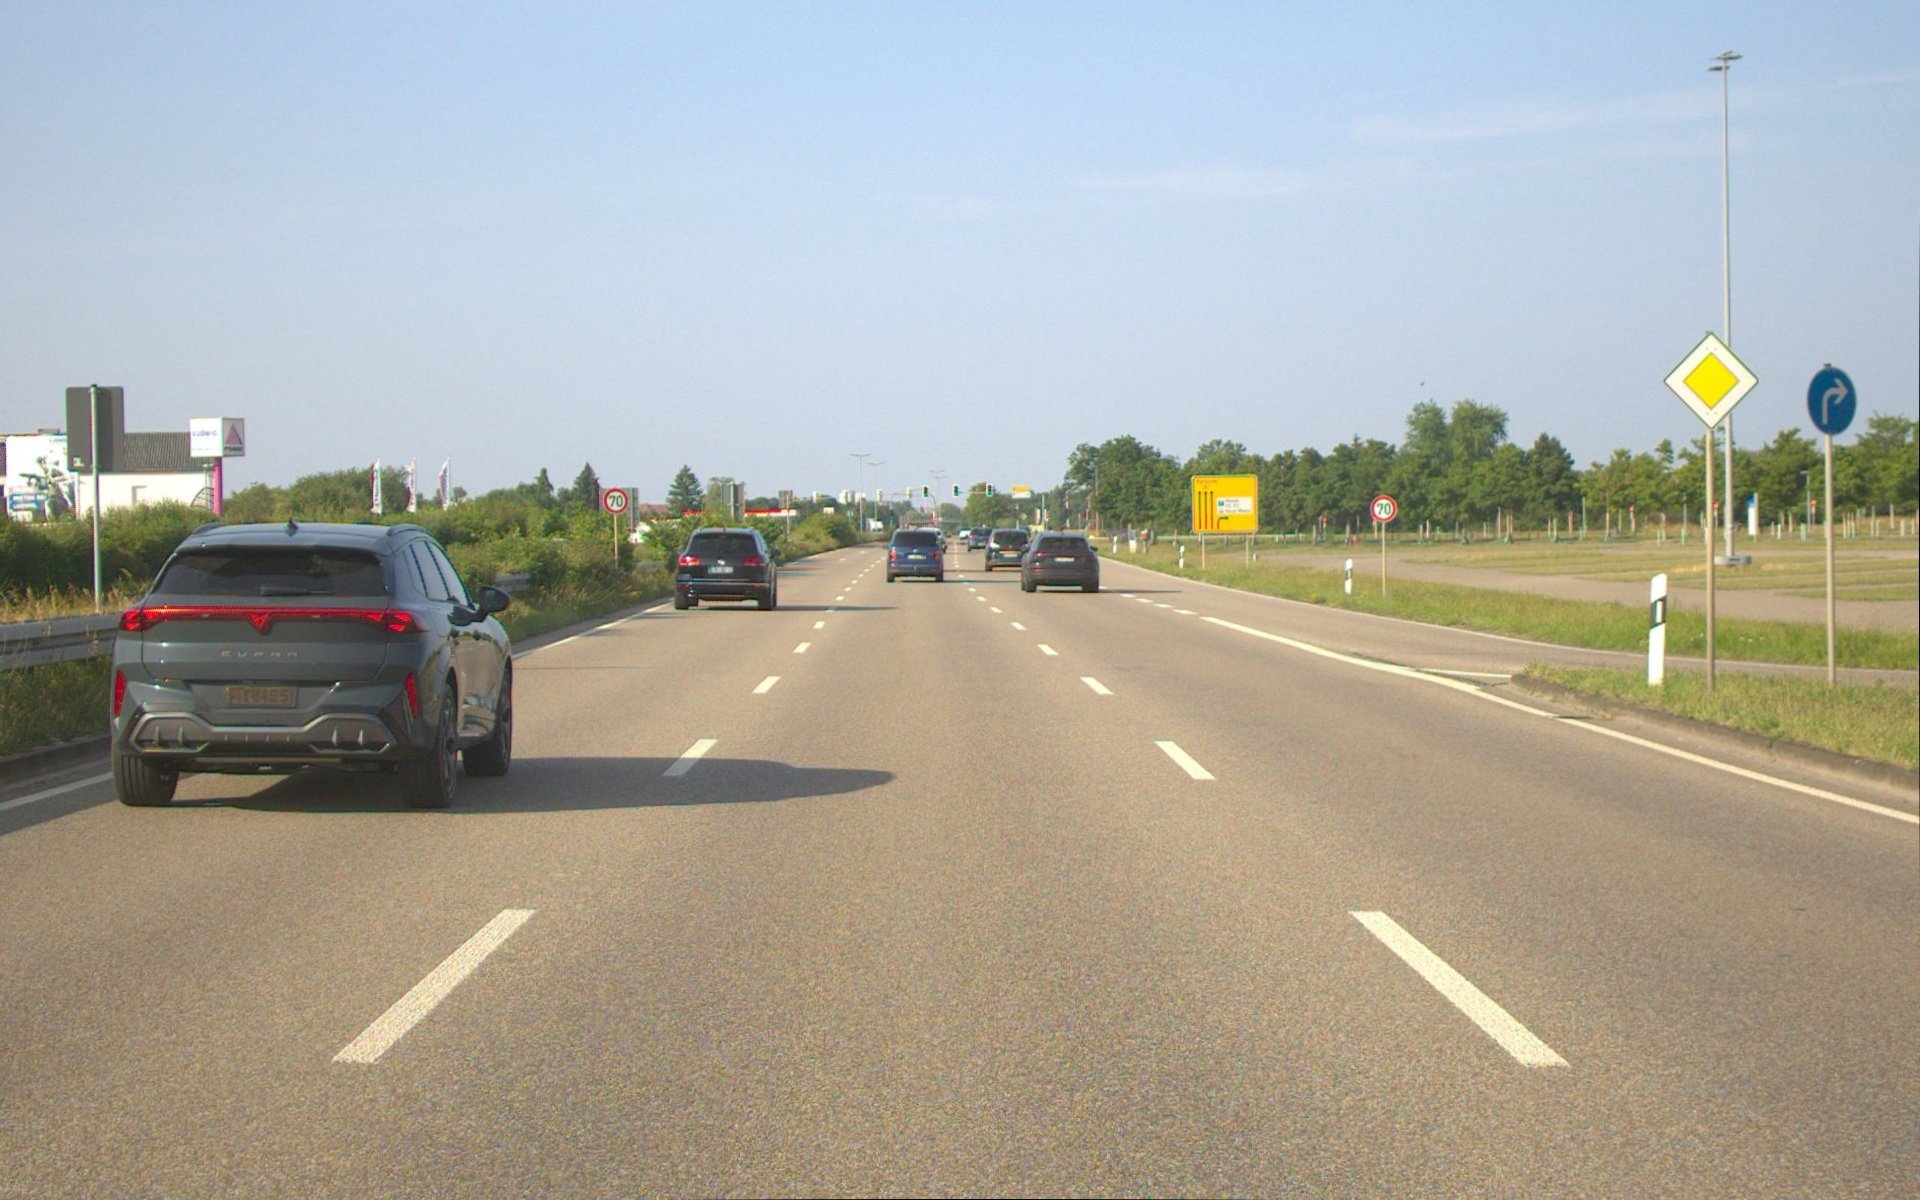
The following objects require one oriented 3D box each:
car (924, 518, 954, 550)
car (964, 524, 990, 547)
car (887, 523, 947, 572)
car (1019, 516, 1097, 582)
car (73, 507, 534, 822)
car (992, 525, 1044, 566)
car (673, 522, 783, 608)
[{"bbox_3d":[-1.164,-3.657,190.971,1.645,1.722,3.401,1,0,-1],"label":"car"},{"bbox_3d":[1.022,-3.832,204.188,1.503,1.309,3.156,2,1,0],"label":"car"},{"bbox_3d":[-1.336,-1.664,108.033,1.813,1.458,4.401,2,1,0],"label":"car"},{"bbox_3d":[2.629,-1.396,92.957,1.932,1.674,4.401,2,1,0],"label":"car"},{"bbox_3d":[-3.719,0.288,20.250,1.845,1.606,4.401,2,1,0],"label":"car"},{"bbox_3d":[2.185,-2.090,131.149,1.873,1.458,3.981,2,1,0],"label":"car"},{"bbox_3d":[-4.751,-0.750,70.929,1.932,1.674,4.401,2,1,0],"label":"car"}]
